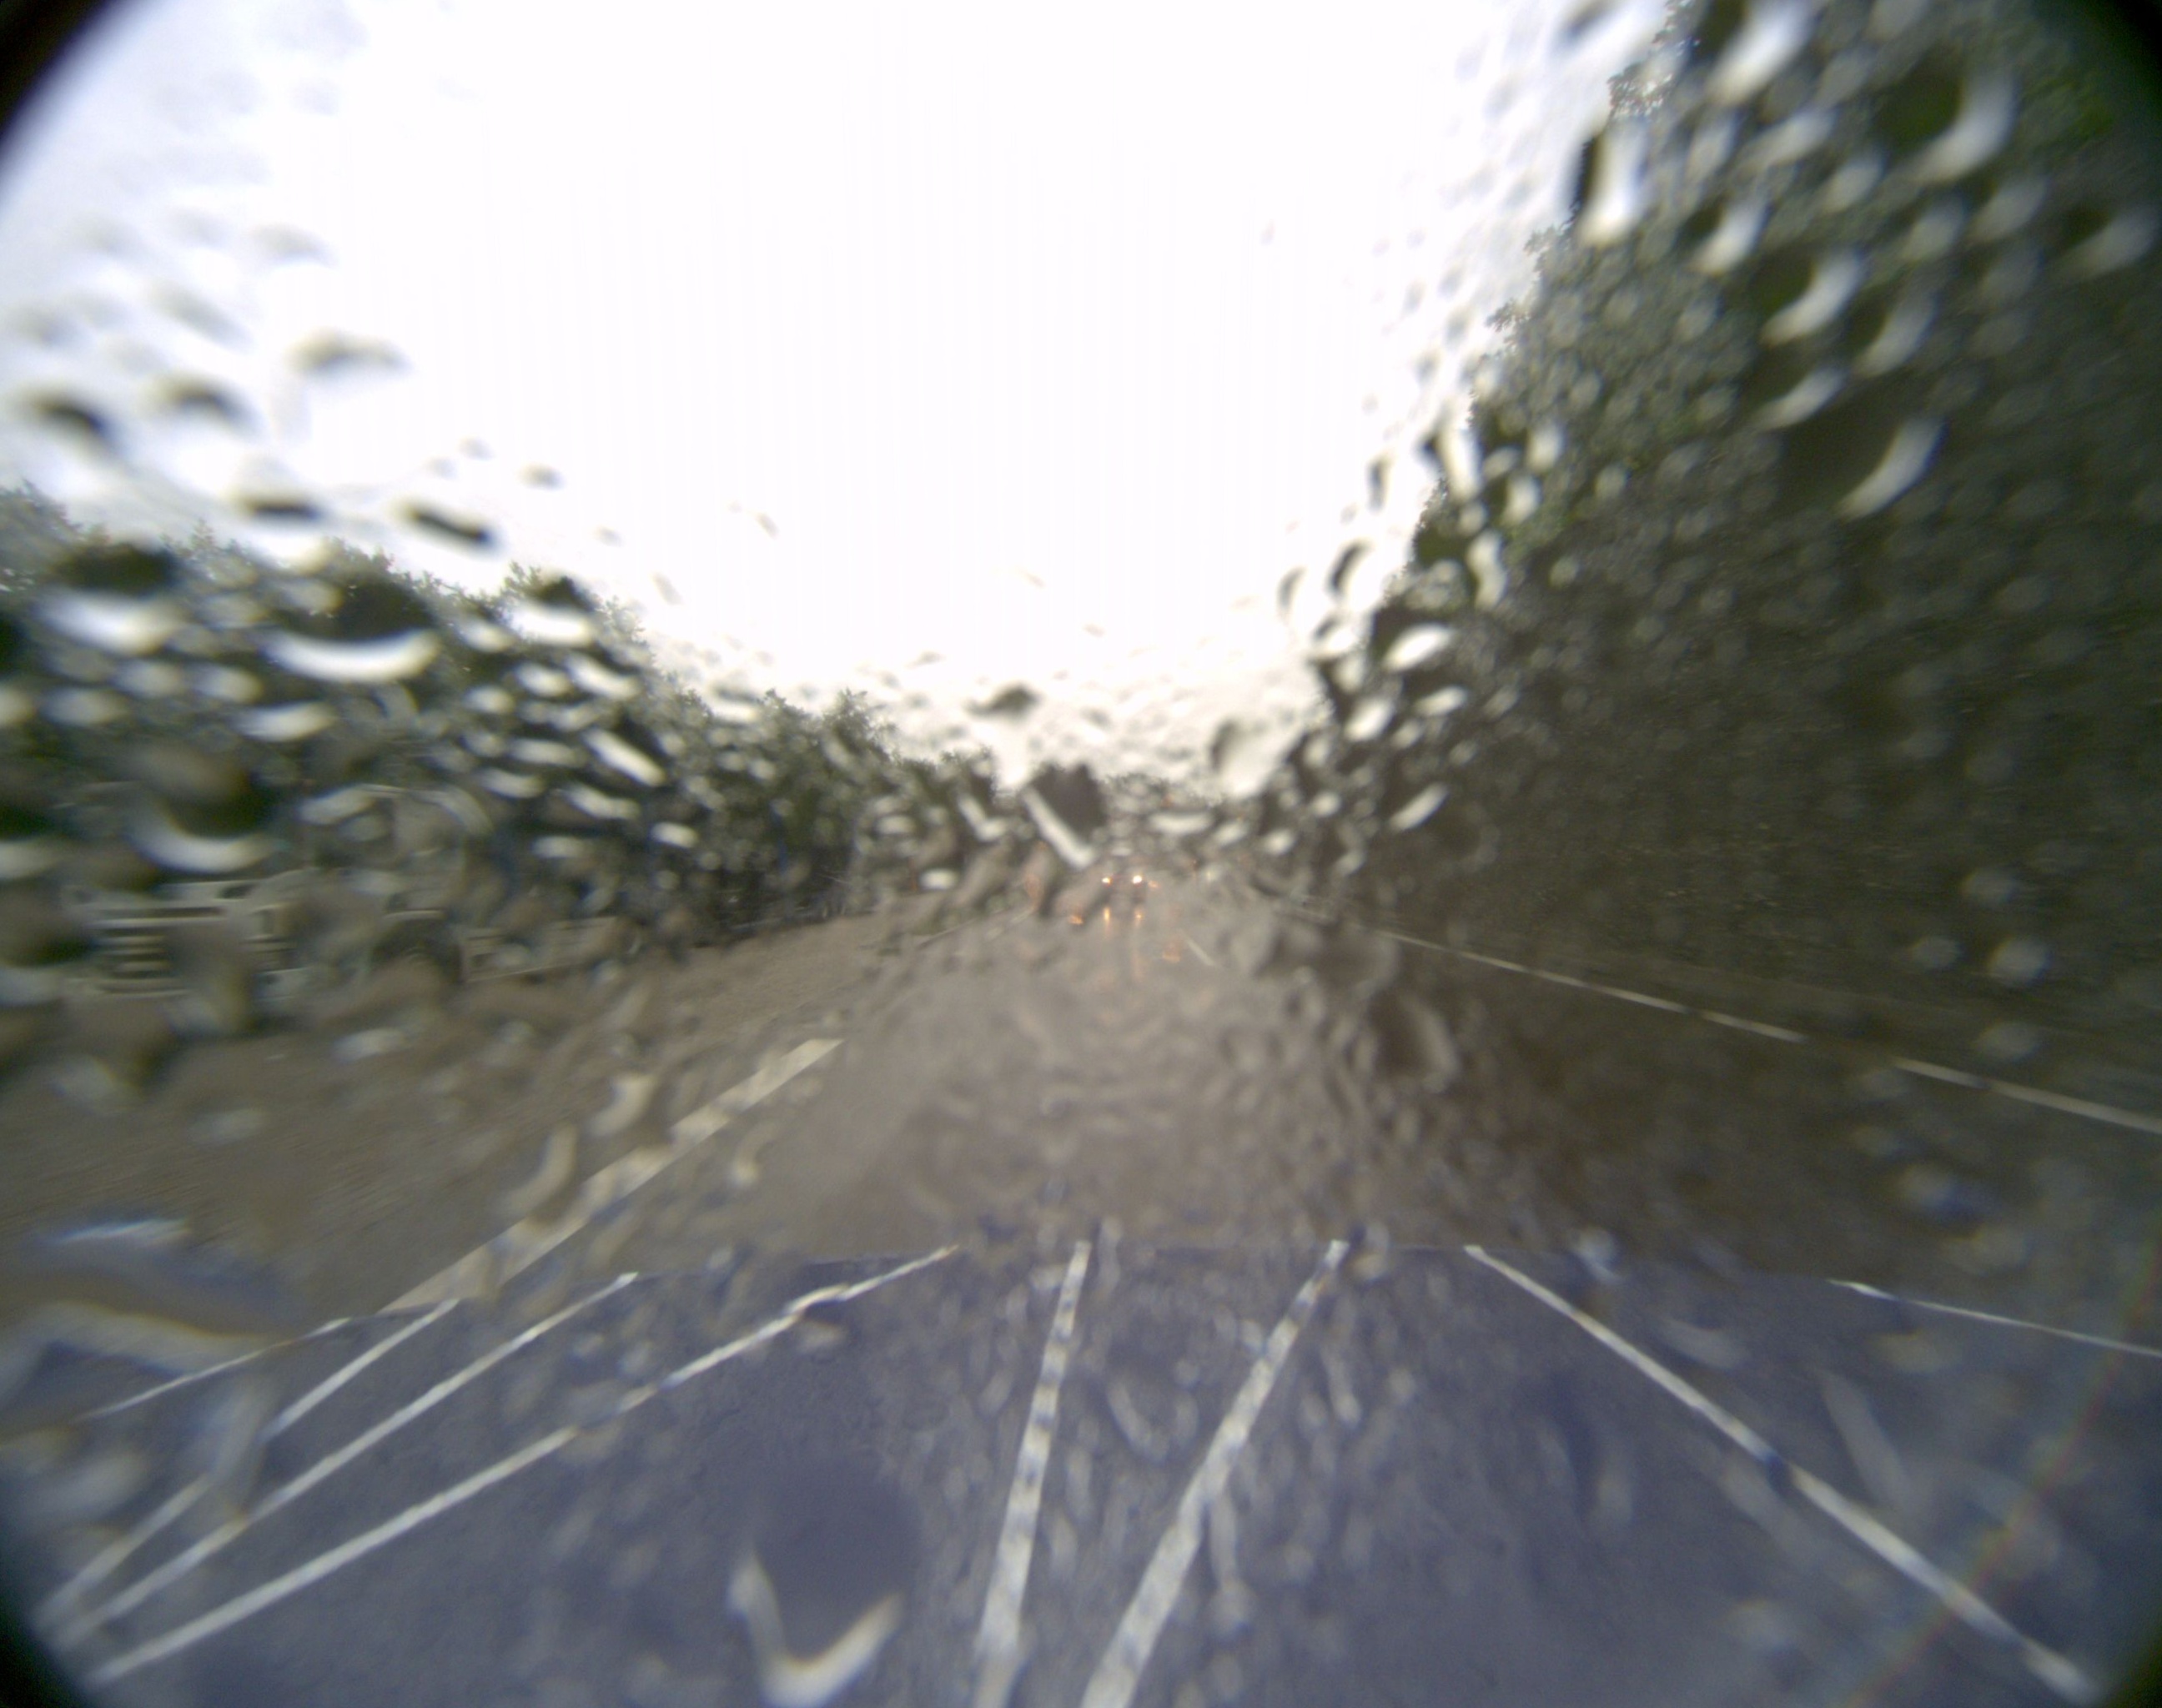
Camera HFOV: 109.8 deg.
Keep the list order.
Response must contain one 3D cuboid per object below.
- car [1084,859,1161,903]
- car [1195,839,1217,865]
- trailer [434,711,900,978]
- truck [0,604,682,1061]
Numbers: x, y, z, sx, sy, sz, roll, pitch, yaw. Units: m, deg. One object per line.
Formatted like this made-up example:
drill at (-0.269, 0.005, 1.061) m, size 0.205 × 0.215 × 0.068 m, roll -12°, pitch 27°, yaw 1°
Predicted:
car at (1.775, 1.004, 30.266) m, size 2.357 × 1.549 × 5.503 m, roll 0°, pitch 0°, yaw 11°
car at (14.487, -0.259, 87.808) m, size 1.739 × 3.008 × 4.005 m, roll 0°, pitch 1°, yaw 20°
trailer at (-8.356, -0.177, 19.431) m, size 2.898 × 4.220 × 14.701 m, roll -1°, pitch 0°, yaw 4°
truck at (-8.980, -0.187, 10.527) m, size 2.902 × 4.220 × 6.882 m, roll -1°, pitch 0°, yaw 3°
